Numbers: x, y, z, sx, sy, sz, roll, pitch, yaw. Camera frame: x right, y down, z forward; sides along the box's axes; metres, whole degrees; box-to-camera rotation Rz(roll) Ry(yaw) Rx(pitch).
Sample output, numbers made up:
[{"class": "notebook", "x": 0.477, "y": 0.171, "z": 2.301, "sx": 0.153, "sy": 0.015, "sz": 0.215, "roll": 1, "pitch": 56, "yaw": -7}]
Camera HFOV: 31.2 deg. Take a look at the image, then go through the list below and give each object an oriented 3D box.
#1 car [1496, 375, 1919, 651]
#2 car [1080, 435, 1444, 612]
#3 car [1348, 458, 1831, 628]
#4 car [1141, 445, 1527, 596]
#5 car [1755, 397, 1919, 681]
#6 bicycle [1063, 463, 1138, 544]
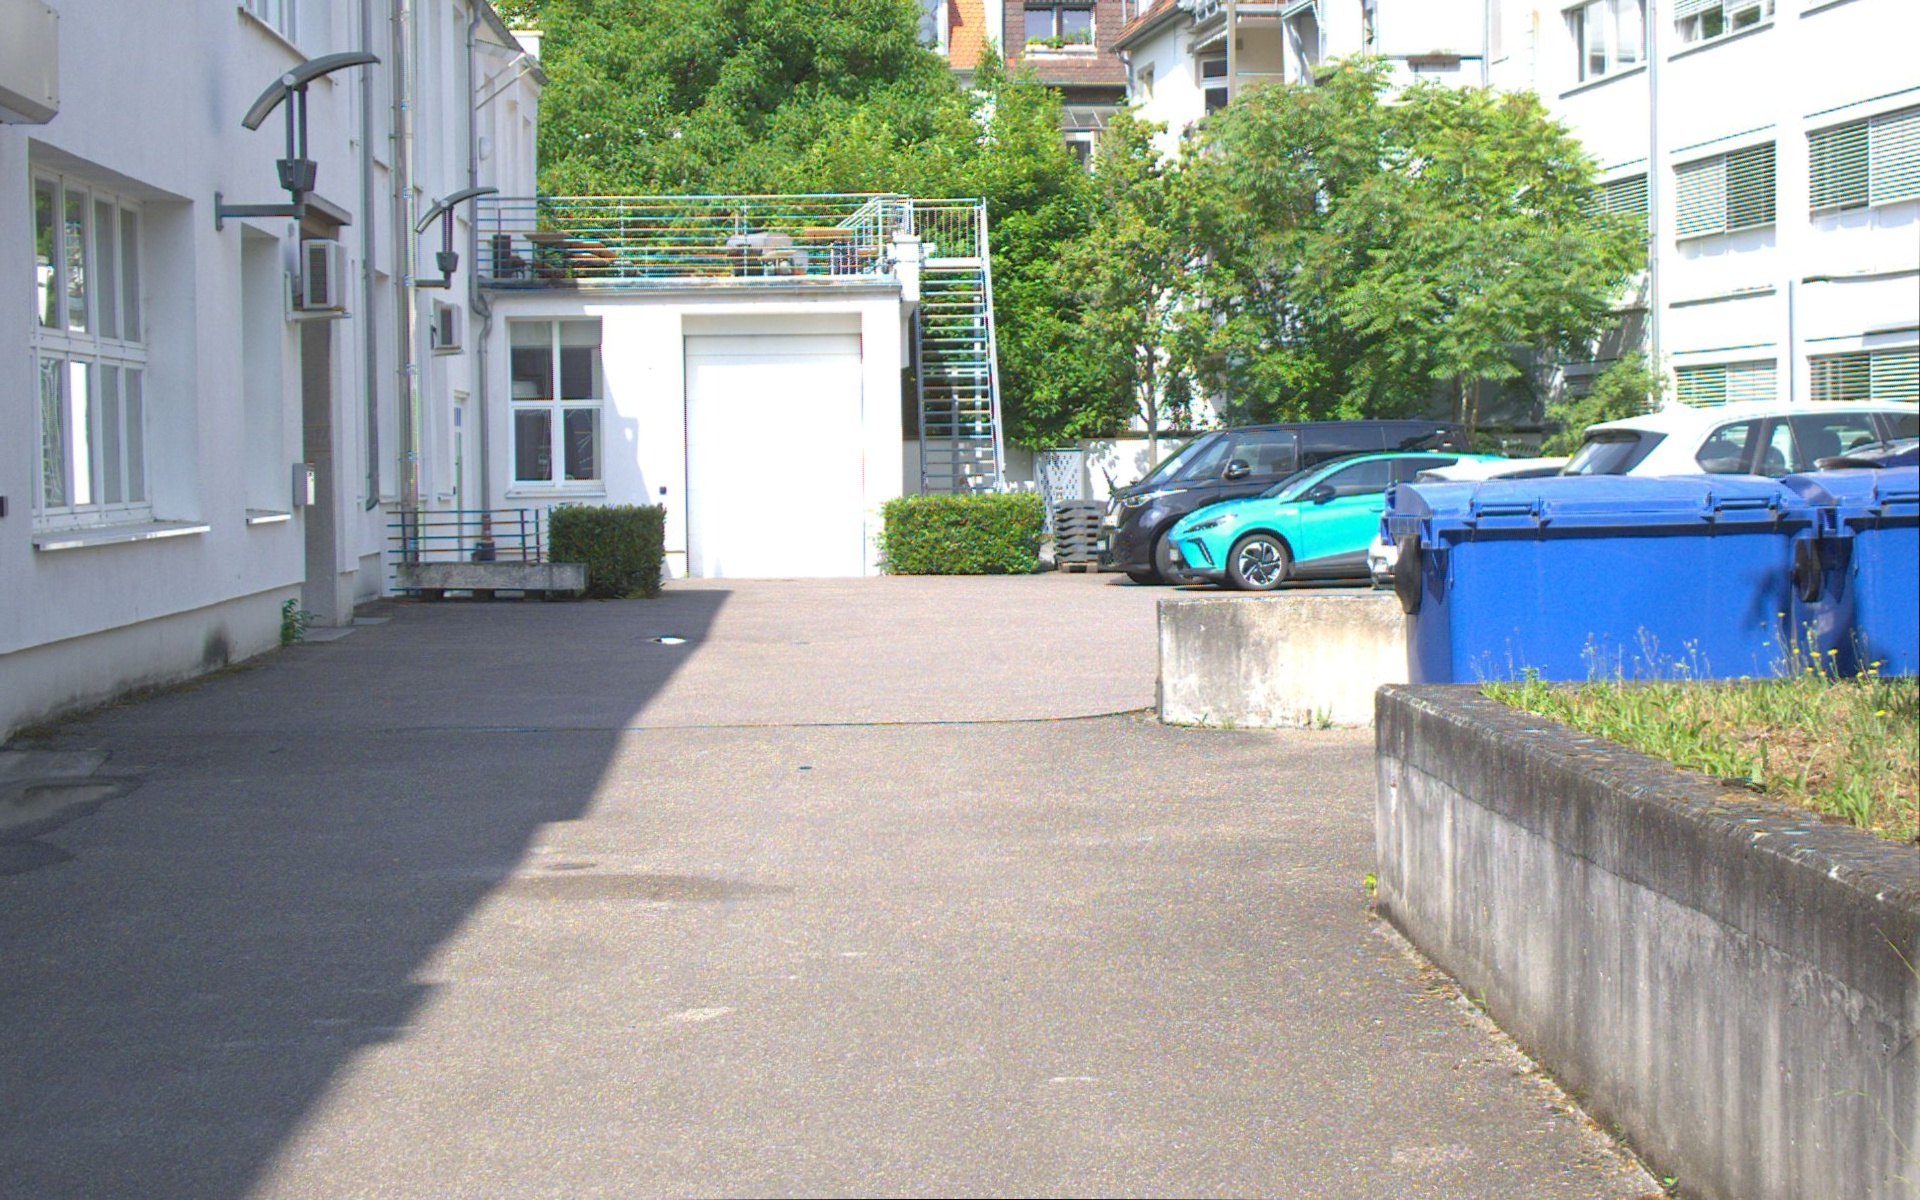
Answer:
[{"class": "car", "x": 5.926, "y": -0.548, "z": 23.637, "sx": 3.986, "sy": 1.740, "sz": 1.950, "roll": 2, "pitch": 0, "yaw": -7}, {"class": "car", "x": 3.603, "y": -0.892, "z": 41.293, "sx": 3.986, "sy": 1.811, "sz": 1.664, "roll": 4, "pitch": -1, "yaw": -7}, {"class": "car", "x": 5.684, "y": -0.517, "z": 31.260, "sx": 3.986, "sy": 1.440, "sz": 1.629, "roll": 1, "pitch": 1, "yaw": -7}, {"class": "car", "x": 4.162, "y": -0.884, "z": 38.541, "sx": 3.986, "sy": 1.568, "sz": 1.629, "roll": 1, "pitch": 1, "yaw": -7}, {"class": "car", "x": 7.151, "y": -0.233, "z": 20.829, "sx": 4.112, "sy": 1.601, "sz": 1.755, "roll": 4, "pitch": -1, "yaw": -7}, {"class": "bicycle", "x": 2.076, "y": -1.421, "z": 51.045, "sx": 0.640, "sy": 1.113, "sz": 1.859, "roll": 4, "pitch": -1, "yaw": -11}]
